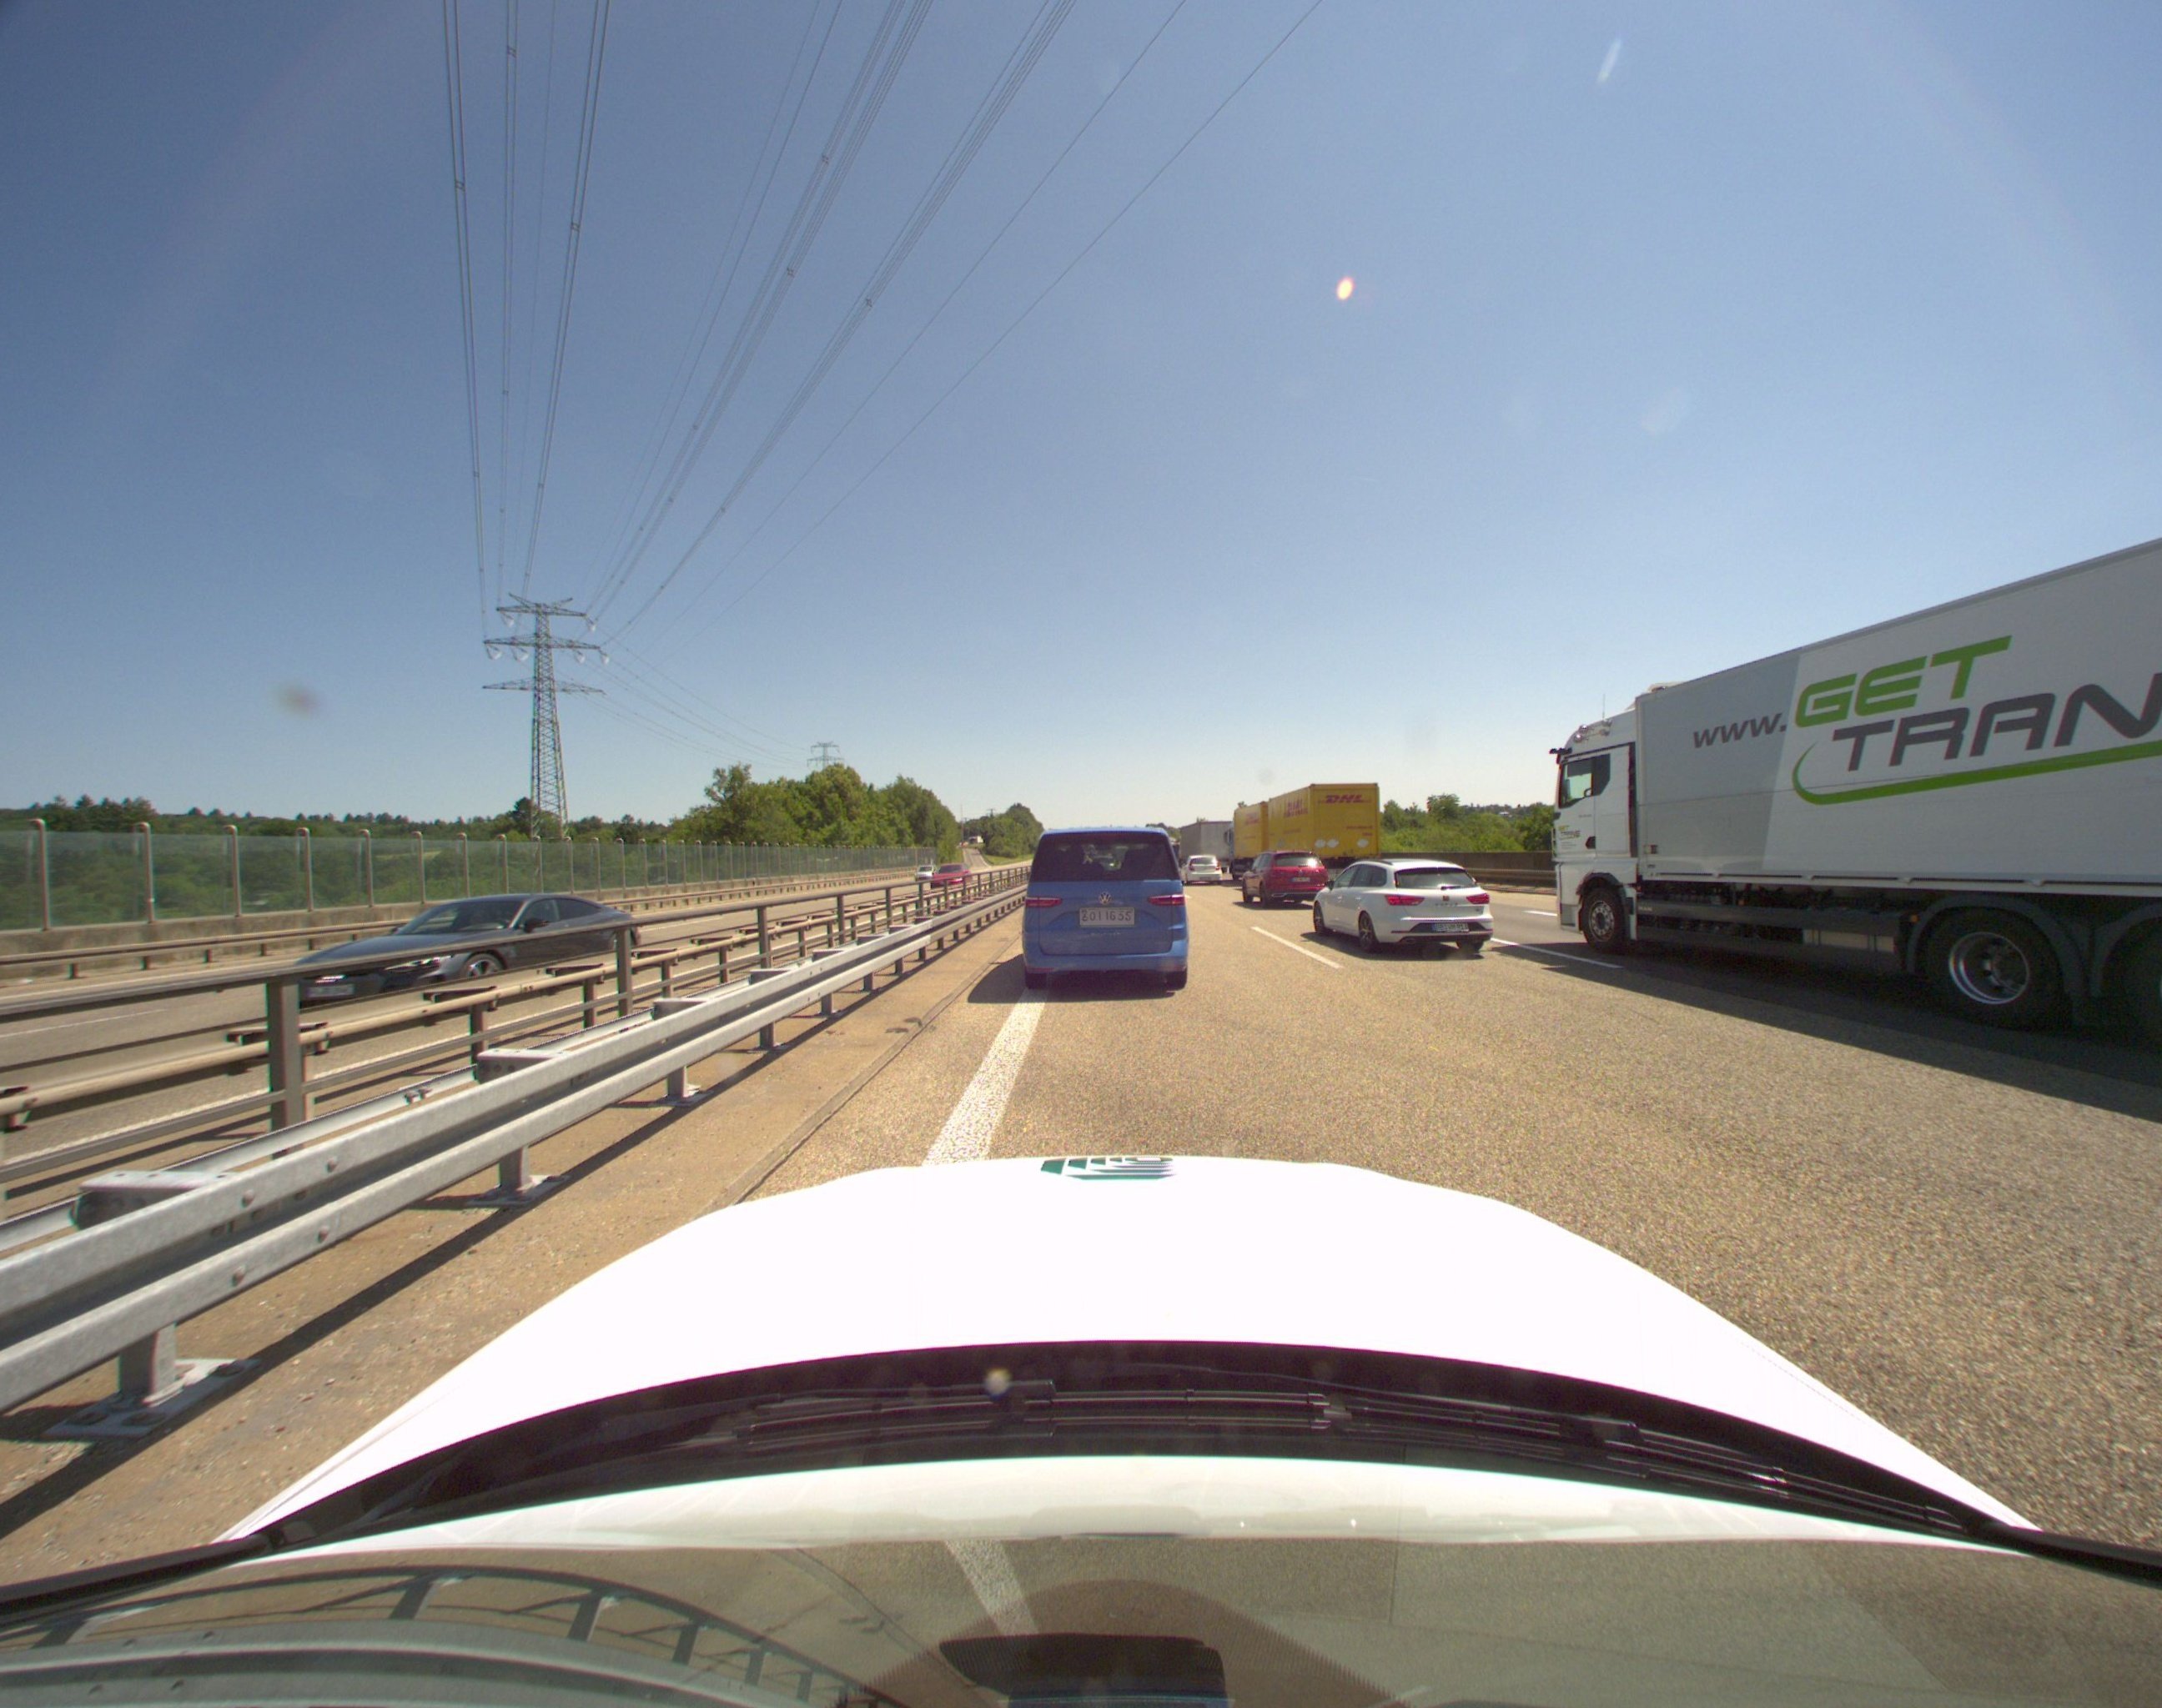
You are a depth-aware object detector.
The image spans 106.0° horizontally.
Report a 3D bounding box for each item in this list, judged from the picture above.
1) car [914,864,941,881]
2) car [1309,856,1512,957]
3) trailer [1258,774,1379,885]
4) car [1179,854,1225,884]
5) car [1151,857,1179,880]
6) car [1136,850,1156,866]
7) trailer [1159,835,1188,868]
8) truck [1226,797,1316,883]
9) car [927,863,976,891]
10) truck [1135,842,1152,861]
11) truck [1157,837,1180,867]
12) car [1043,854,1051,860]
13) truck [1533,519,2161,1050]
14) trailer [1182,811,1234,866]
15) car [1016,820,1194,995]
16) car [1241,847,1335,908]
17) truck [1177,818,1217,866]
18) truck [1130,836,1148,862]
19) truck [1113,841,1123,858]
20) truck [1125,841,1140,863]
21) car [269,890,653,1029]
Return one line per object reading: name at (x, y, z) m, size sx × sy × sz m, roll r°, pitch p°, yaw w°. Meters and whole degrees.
car at (-14.133, 1.708, 75.111) m, size 1.598 × 1.394 × 3.678 m, roll -4°, pitch 0°, yaw 1°
car at (5.214, 0.749, 13.537) m, size 1.774 × 1.387 × 4.189 m, roll -1°, pitch 0°, yaw 2°
trailer at (9.550, -0.828, 33.921) m, size 2.691 × 4.023 × 8.933 m, roll 0°, pitch -1°, yaw 2°
car at (6.112, 0.741, 41.481) m, size 1.832 × 1.414 × 4.001 m, roll -1°, pitch 0°, yaw 1°
car at (5.974, 1.062, 58.154) m, size 1.709 × 1.587 × 3.822 m, roll -1°, pitch -1°, yaw 2°
car at (6.481, 0.389, 81.597) m, size 1.709 × 1.540 × 3.822 m, roll -3°, pitch 0°, yaw 1°
trailer at (10.984, -0.234, 97.894) m, size 2.371 × 3.744 × 11.189 m, roll 0°, pitch -1°, yaw 1°
truck at (9.866, -0.595, 43.571) m, size 2.712 × 4.055 × 10.339 m, roll 0°, pitch -1°, yaw 2°
car at (-7.019, 1.229, 44.490) m, size 1.835 × 1.446 × 4.420 m, roll 0°, pitch -1°, yaw 1°
truck at (11.144, -0.375, 146.866) m, size 2.348 × 3.218 × 9.739 m, roll 0°, pitch -1°, yaw 0°
truck at (11.108, -0.164, 103.631) m, size 2.359 × 3.722 × 6.034 m, roll 0°, pitch -1°, yaw 1°
car at (-9.594, 0.873, 228.692) m, size 1.774 × 1.569 × 4.388 m, roll -3°, pitch -1°, yaw 1°
truck at (8.810, -0.448, 8.069) m, size 2.840 × 3.603 × 10.770 m, roll 0°, pitch -1°, yaw 1°
trailer at (10.239, -1.089, 66.846) m, size 2.745 × 4.146 × 11.314 m, roll 0°, pitch -1°, yaw 1°
car at (0.313, 0.582, 10.705) m, size 1.875 × 1.837 × 4.001 m, roll -1°, pitch 0°, yaw 2°
car at (5.987, 0.642, 24.020) m, size 1.844 × 1.608 × 4.001 m, roll -1°, pitch 0°, yaw 2°
truck at (10.409, -0.989, 73.903) m, size 2.758 × 4.095 × 6.985 m, roll 0°, pitch -1°, yaw 1°
truck at (11.715, -0.961, 164.823) m, size 2.824 × 5.040 × 11.144 m, roll 0°, pitch -1°, yaw 0°
truck at (11.962, -1.360, 264.609) m, size 2.824 × 5.373 × 12.552 m, roll 0°, pitch -1°, yaw 0°
truck at (12.022, -0.343, 190.632) m, size 2.824 × 5.040 × 11.814 m, roll 0°, pitch -1°, yaw 0°
car at (-8.173, 1.289, 11.401) m, size 1.889 × 1.315 × 4.373 m, roll -3°, pitch 0°, yaw 2°
